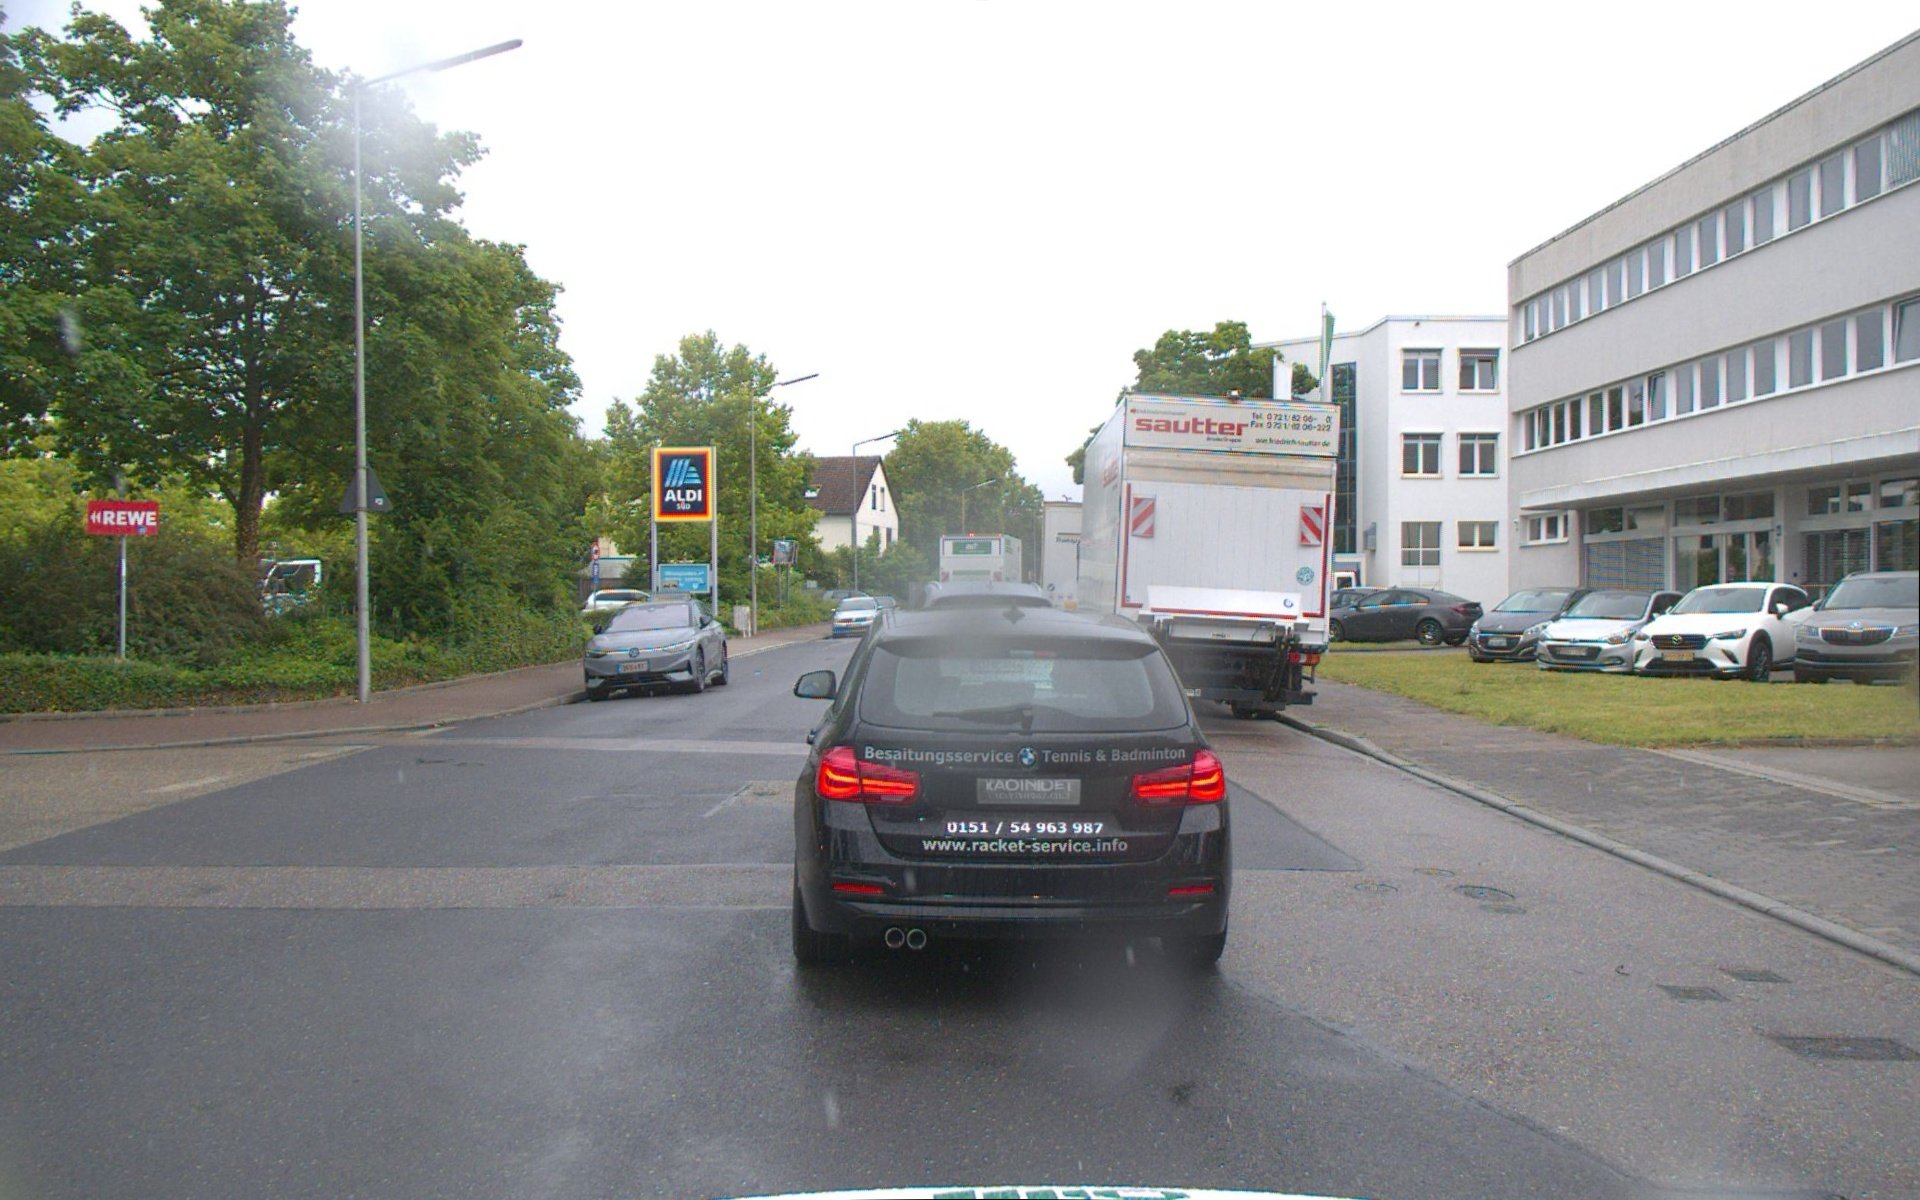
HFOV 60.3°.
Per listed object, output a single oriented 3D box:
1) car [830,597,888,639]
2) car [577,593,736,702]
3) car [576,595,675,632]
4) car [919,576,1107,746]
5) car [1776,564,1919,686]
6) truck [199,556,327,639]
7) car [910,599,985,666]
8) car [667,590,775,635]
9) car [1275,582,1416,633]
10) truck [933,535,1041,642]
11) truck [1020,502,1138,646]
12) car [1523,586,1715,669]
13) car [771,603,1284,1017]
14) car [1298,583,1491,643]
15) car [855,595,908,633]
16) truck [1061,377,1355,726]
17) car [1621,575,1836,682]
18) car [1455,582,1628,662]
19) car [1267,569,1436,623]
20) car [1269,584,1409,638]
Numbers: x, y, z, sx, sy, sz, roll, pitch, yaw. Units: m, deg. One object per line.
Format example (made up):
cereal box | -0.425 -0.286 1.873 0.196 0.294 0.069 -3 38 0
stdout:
car | -3.688 0.643 60.993 1.670 1.391 4.602 -3 0 2
car | -5.018 0.731 27.959 1.772 1.555 4.747 -4 0 -1
car | -14.663 0.584 72.651 3.905 1.567 1.911 0 0 1
car | 0.456 0.591 17.856 1.768 1.614 3.998 0 0 -2
car | 12.993 0.295 22.976 1.842 1.554 3.972 0 0 44
truck | -24.827 -0.087 59.220 1.953 2.801 6.466 0 0 -1
car | -0.365 0.774 41.308 1.768 1.579 3.998 0 0 -2
car | -8.476 0.426 58.853 3.496 1.485 1.713 1 0 1
car | 12.148 0.204 52.251 4.075 1.440 1.682 2 3 41
truck | 1.027 -0.516 56.340 2.291 3.313 7.758 3 3 10
truck | 3.255 -0.707 47.177 2.685 3.674 7.749 2 0 0
car | 11.386 0.423 28.454 1.678 1.309 3.971 0 0 45
car | 0.177 0.734 7.718 1.768 1.419 3.998 0 0 -2
car | 11.309 0.318 43.207 4.586 1.493 1.783 0 0 38
car | -3.157 0.557 67.092 1.670 1.391 3.840 -3 0 3
truck | 3.107 -0.579 23.444 2.685 3.855 9.299 2 0 0
car | 11.761 0.380 25.215 1.746 1.496 3.971 0 0 45
car | 11.112 0.374 31.512 1.678 1.417 3.741 0 0 45
car | 15.713 -0.149 66.580 6.327 2.049 1.998 1 -1 -5
car | 11.382 0.305 49.787 3.712 1.421 1.718 4 3 40
